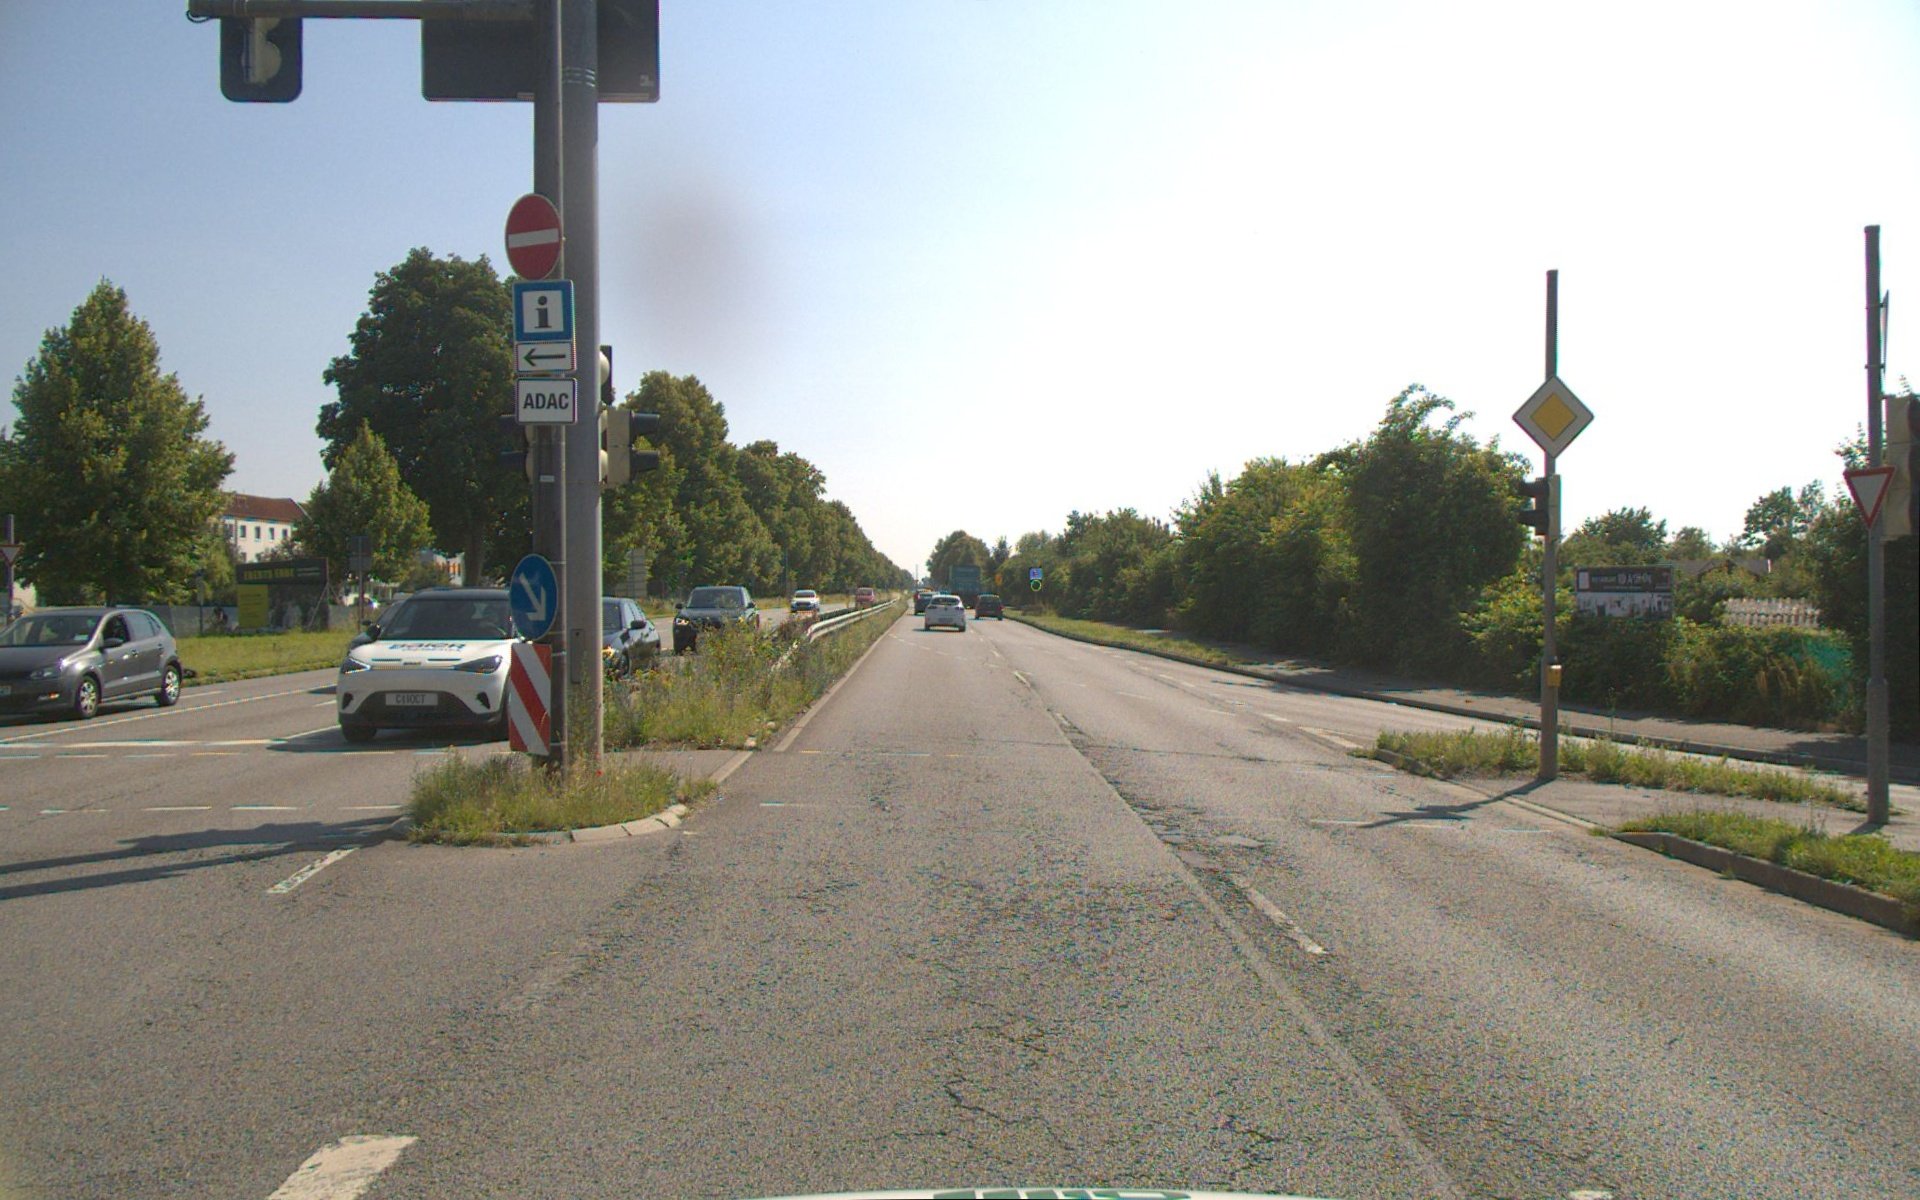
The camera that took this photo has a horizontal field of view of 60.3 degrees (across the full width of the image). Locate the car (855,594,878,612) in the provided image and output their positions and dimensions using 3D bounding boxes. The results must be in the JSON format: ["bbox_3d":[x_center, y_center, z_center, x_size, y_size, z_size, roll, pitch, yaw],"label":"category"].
[{"bbox_3d":[-7.947,0.255,140.283,1.874,1.528,4.089,0,0,-2],"label":"car"}]

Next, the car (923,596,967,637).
[{"bbox_3d":[-0.604,0.672,68.665,1.762,1.580,4.000,1,1,0],"label":"car"}]

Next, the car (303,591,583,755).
[{"bbox_3d":[-5.735,0.737,18.915,1.969,1.638,4.210,-1,0,-2],"label":"car"}]

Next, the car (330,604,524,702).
[{"bbox_3d":[-8.977,0.839,28.248,1.890,1.462,4.267,-1,1,0],"label":"car"}]

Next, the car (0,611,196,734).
[{"bbox_3d":[-11.992,0.933,22.478,1.455,1.439,3.761,-3,0,-1],"label":"car"}]

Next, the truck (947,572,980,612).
[{"bbox_3d":[0.260,-0.757,150.225,2.833,3.488,9.167,0,0,-1],"label":"truck"}]

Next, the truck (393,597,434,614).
[{"bbox_3d":[-68.194,0.643,206.421,4.410,2.049,2.051,1,0,-2],"label":"truck"}]

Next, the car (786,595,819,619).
[{"bbox_3d":[-10.599,0.457,111.630,1.953,1.528,4.089,0,0,-2],"label":"car"}]

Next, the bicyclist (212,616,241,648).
[{"bbox_3d":[-28.722,1.259,64.755,0.596,1.238,0.894,0,0,16],"label":"bicyclist"}]

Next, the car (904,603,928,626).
[{"bbox_3d":[-2.865,0.920,108.810,1.540,1.439,3.277,0,0,-1],"label":"car"}]

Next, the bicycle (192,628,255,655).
[{"bbox_3d":[-28.790,1.612,64.670,0.819,0.967,2.513,0,0,16],"label":"bicycle"}]

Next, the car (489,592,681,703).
[{"bbox_3d":[-5.631,0.654,25.467,1.779,1.511,4.894,1,0,1],"label":"car"}]

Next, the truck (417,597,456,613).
[{"bbox_3d":[-68.007,0.671,215.055,4.410,2.049,2.051,1,0,-2],"label":"truck"}]

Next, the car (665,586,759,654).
[{"bbox_3d":[-6.164,0.475,41.502,1.809,1.622,4.615,0,0,-2],"label":"car"}]

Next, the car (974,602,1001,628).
[{"bbox_3d":[1.620,0.889,98.059,1.540,1.439,3.277,1,-1,-1],"label":"car"}]
